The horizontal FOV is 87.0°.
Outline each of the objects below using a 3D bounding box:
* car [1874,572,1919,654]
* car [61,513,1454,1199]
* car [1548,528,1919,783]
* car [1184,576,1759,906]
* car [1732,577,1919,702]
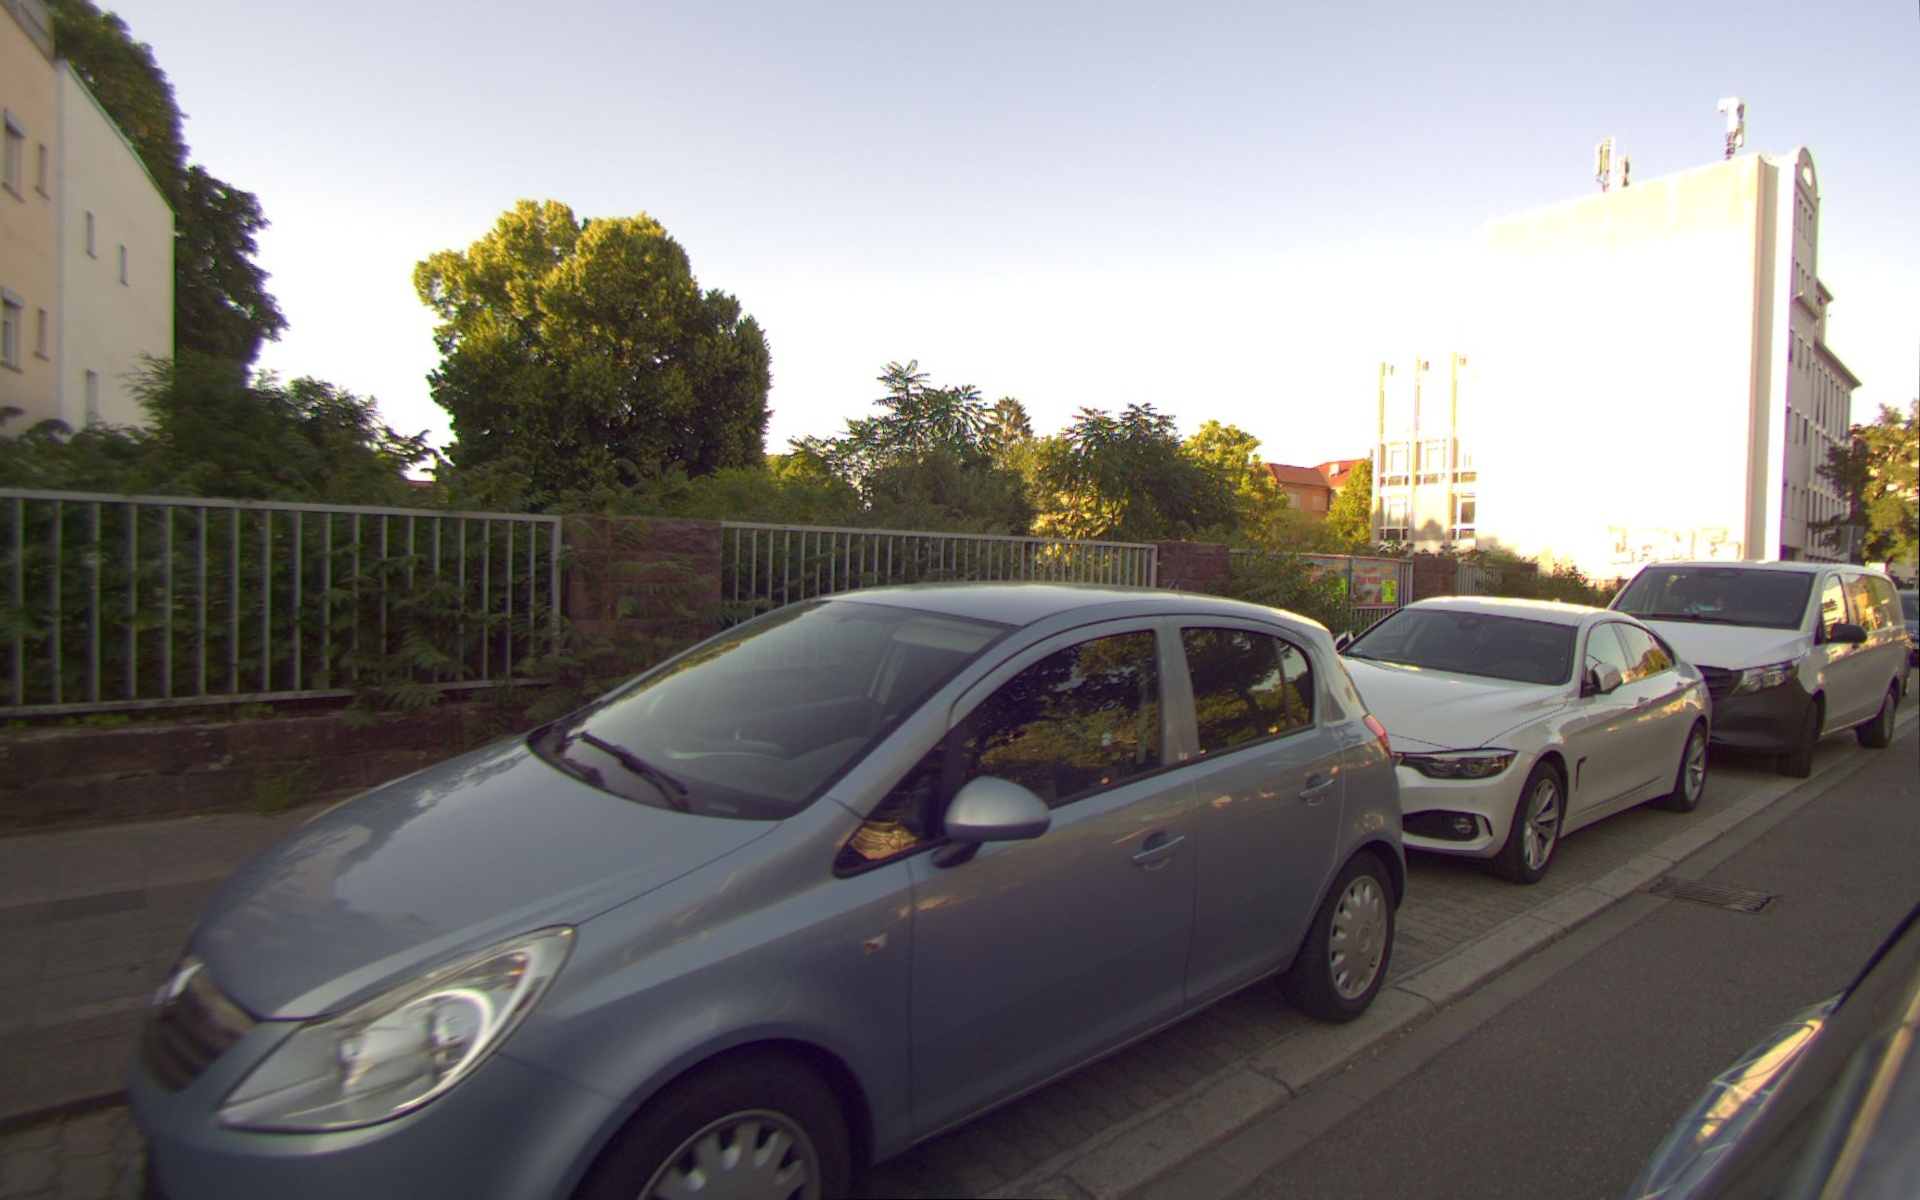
[{"bbox_3d":[24.008,0.320,24.719,4.474,1.850,1.779,0,4,-40],"label":"car"},{"bbox_3d":[-0.204,0.607,3.123,3.826,1.505,1.704,0,5,-42],"label":"car"},{"bbox_3d":[8.123,0.389,10.242,5.084,1.941,1.894,0,5,-38],"label":"car"},{"bbox_3d":[3.652,0.629,6.789,4.561,1.401,1.733,0,5,-40],"label":"car"},{"bbox_3d":[13.948,0.528,15.987,4.419,1.593,1.779,0,4,-40],"label":"car"}]
